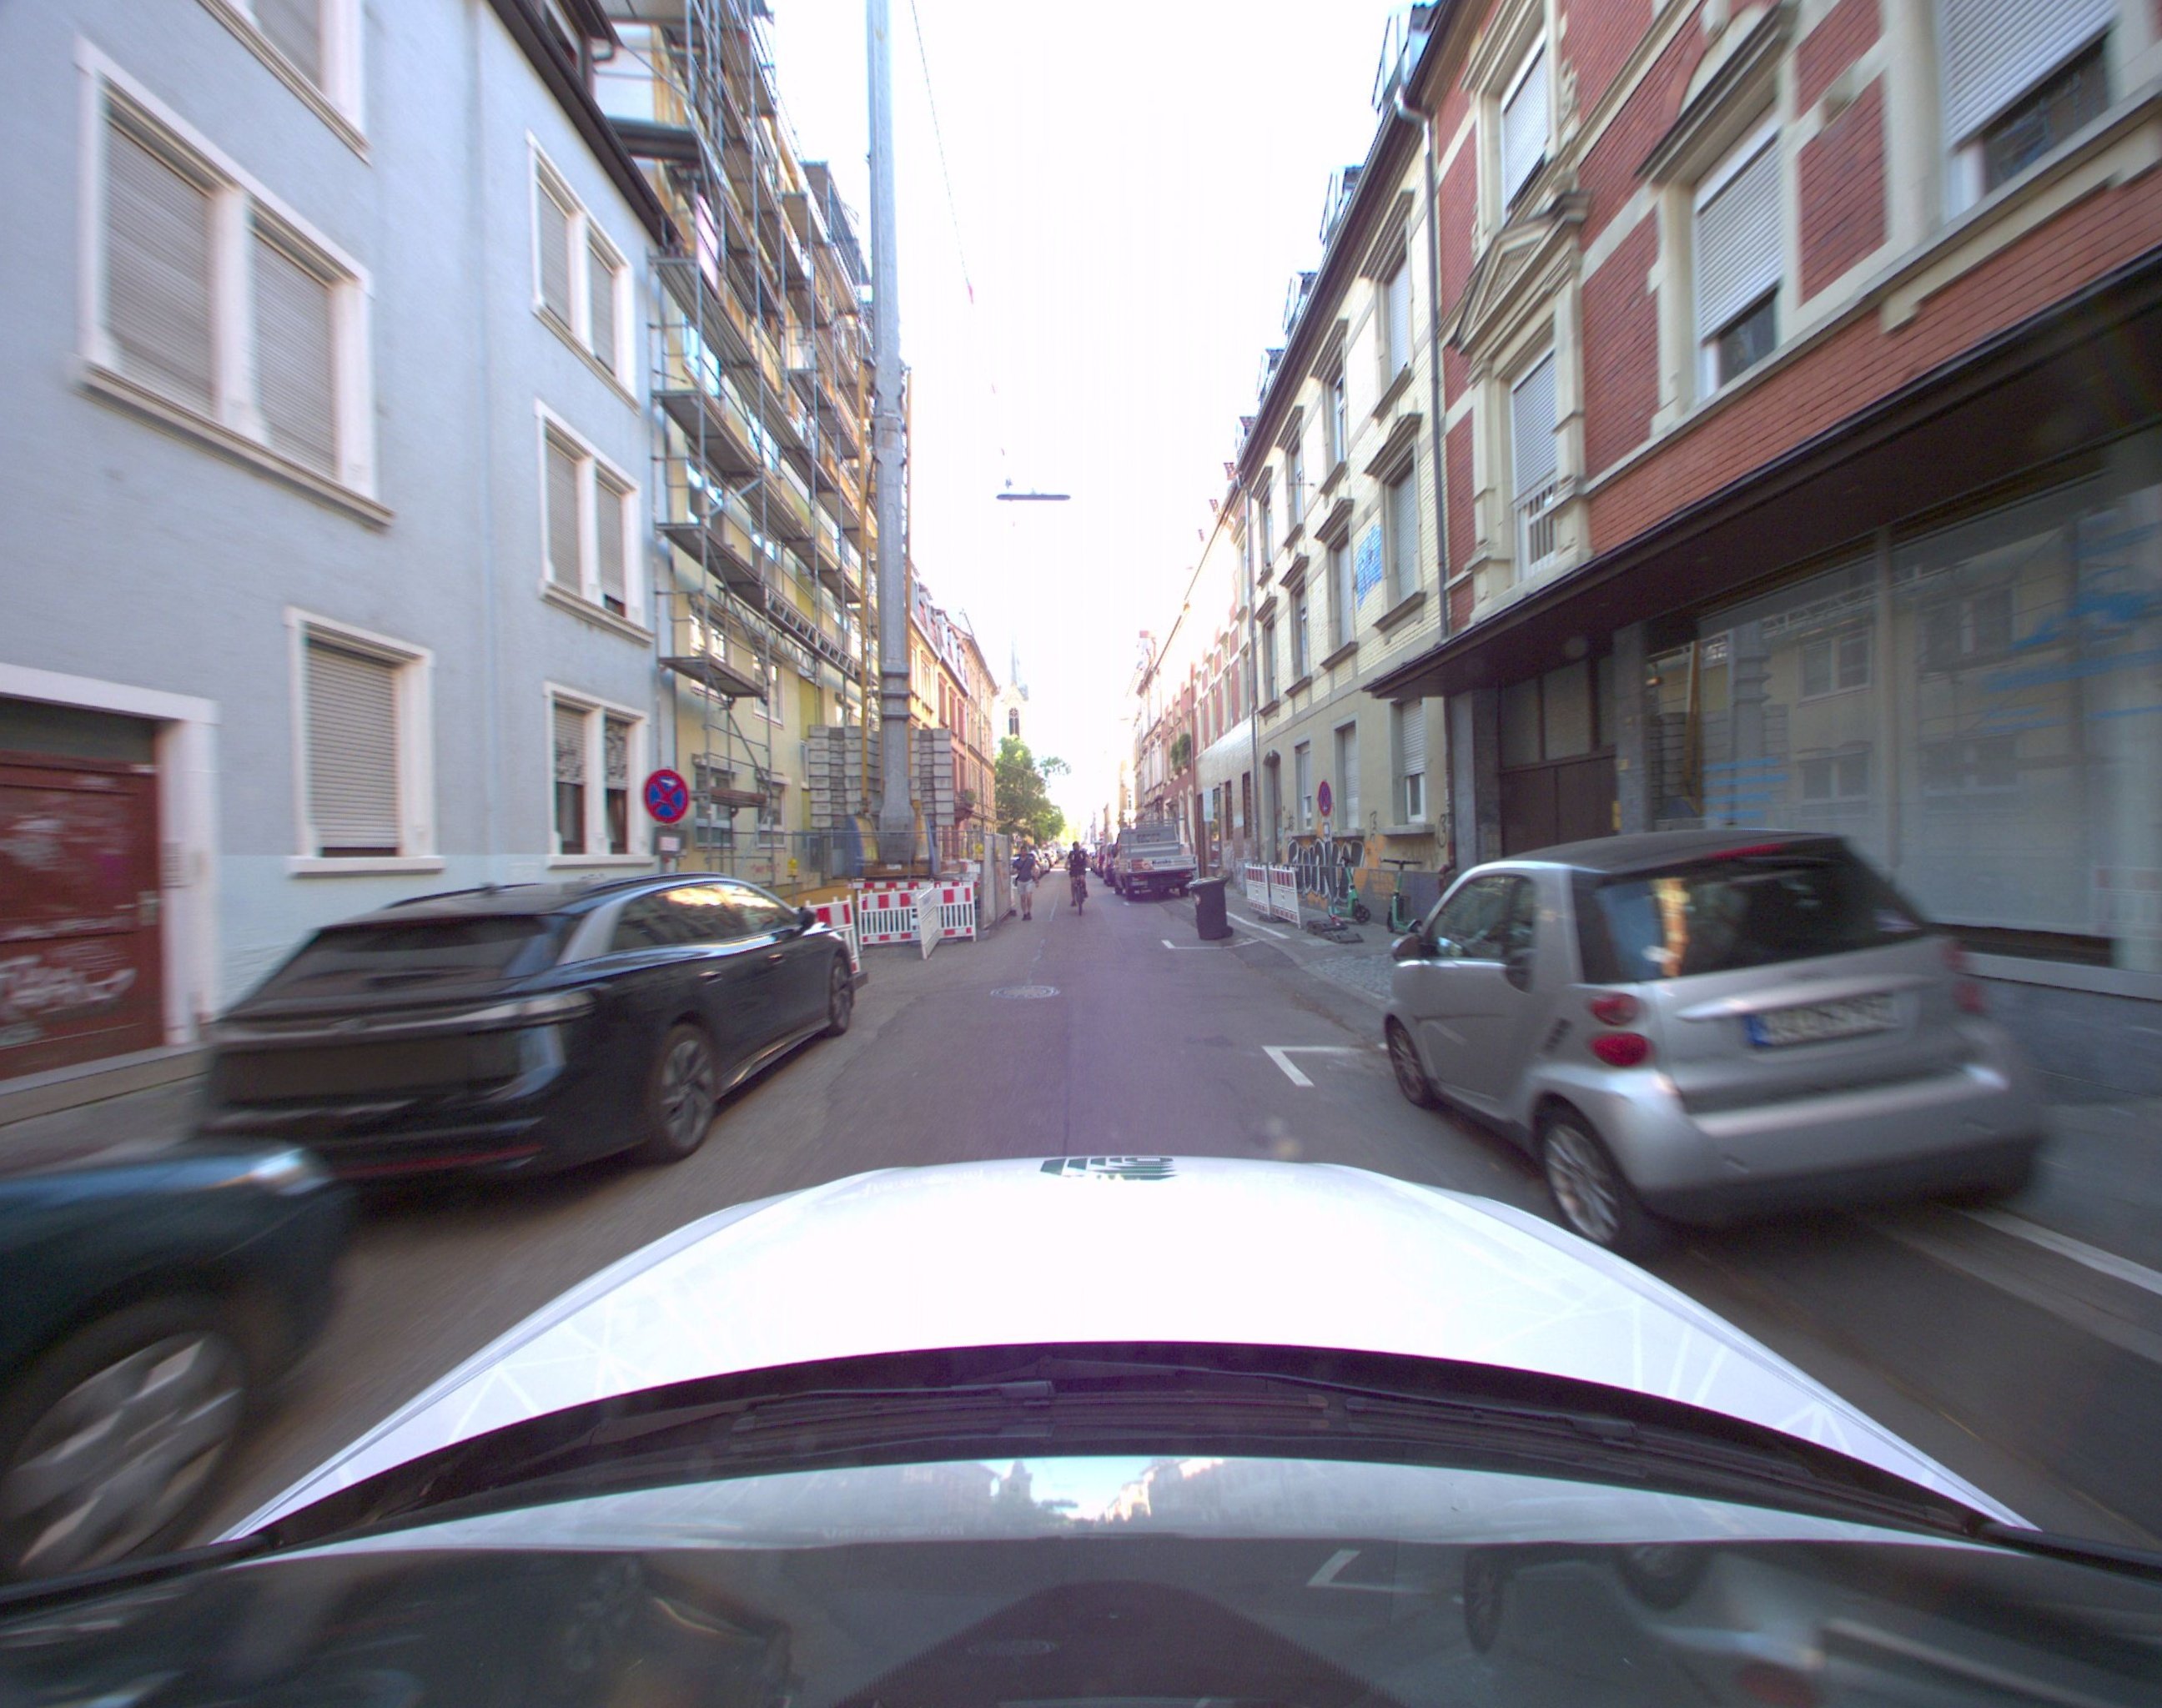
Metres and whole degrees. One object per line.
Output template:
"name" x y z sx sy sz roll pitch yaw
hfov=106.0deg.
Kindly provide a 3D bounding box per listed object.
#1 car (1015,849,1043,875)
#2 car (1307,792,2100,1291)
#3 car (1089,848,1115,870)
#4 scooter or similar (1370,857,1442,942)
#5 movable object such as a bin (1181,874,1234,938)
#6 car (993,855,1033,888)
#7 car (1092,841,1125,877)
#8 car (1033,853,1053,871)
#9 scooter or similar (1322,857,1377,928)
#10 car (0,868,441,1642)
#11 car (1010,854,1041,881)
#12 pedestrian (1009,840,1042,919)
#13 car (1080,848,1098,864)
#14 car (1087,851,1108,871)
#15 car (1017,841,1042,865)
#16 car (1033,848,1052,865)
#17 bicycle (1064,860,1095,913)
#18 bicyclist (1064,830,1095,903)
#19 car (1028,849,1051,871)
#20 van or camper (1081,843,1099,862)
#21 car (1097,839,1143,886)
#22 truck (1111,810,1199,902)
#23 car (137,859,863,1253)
"car" -3.298 0.505 52.339 1.671 1.571 3.865 -2 0 -3
"car" 2.655 0.632 4.692 1.591 1.560 3.814 -5 0 1
"car" 1.611 0.401 63.154 1.671 1.571 3.865 -2 0 -3
"scooter or similar" 4.899 0.647 12.364 0.416 1.178 1.495 -4 0 -1
"movable object such as a bin" 2.230 0.909 14.431 0.793 1.056 0.660 -2 0 -1
"car" -3.182 0.784 38.724 1.671 1.445 3.865 -2 0 -3
"car" 1.641 0.286 49.666 1.671 2.031 3.865 -2 0 -3
"car" -3.999 0.816 85.933 1.988 1.848 3.997 -2 0 -2
"scooter or similar" 4.775 0.650 14.560 0.416 1.178 1.495 -4 0 -1
"car" -2.984 0.830 0.509 1.670 1.511 4.413 -2 0 -1
"car" -3.230 0.756 47.538 1.671 1.445 3.865 -2 0 -3
"pedestrian" -1.261 0.574 18.614 0.655 1.732 0.720 -2 0 -1
"car" 0.985 0.199 100.609 1.988 1.848 3.997 -3 0 -2
"car" 1.702 0.696 87.588 1.988 2.013 3.997 -2 0 -2
"car" -3.629 -0.071 58.039 1.671 1.571 3.865 -2 0 -3
"car" -4.290 0.265 91.117 1.988 1.848 3.997 -3 0 -2
"bicycle" -0.030 0.779 20.342 0.722 1.186 2.042 -1 1 0
"bicyclist" -0.035 0.304 20.314 0.728 1.761 0.835 -1 1 -1
"car" -3.173 0.443 62.905 1.671 1.571 3.865 -2 0 -3
"van or camper" 1.265 -0.242 116.211 1.990 2.508 4.195 -3 0 -5
"car" 1.724 0.356 37.174 1.671 1.963 4.104 -2 0 -3
"truck" 2.286 0.054 26.692 2.184 2.607 5.230 -3 0 -2
"car" -2.961 0.824 5.600 1.670 1.477 4.606 -2 0 -1
